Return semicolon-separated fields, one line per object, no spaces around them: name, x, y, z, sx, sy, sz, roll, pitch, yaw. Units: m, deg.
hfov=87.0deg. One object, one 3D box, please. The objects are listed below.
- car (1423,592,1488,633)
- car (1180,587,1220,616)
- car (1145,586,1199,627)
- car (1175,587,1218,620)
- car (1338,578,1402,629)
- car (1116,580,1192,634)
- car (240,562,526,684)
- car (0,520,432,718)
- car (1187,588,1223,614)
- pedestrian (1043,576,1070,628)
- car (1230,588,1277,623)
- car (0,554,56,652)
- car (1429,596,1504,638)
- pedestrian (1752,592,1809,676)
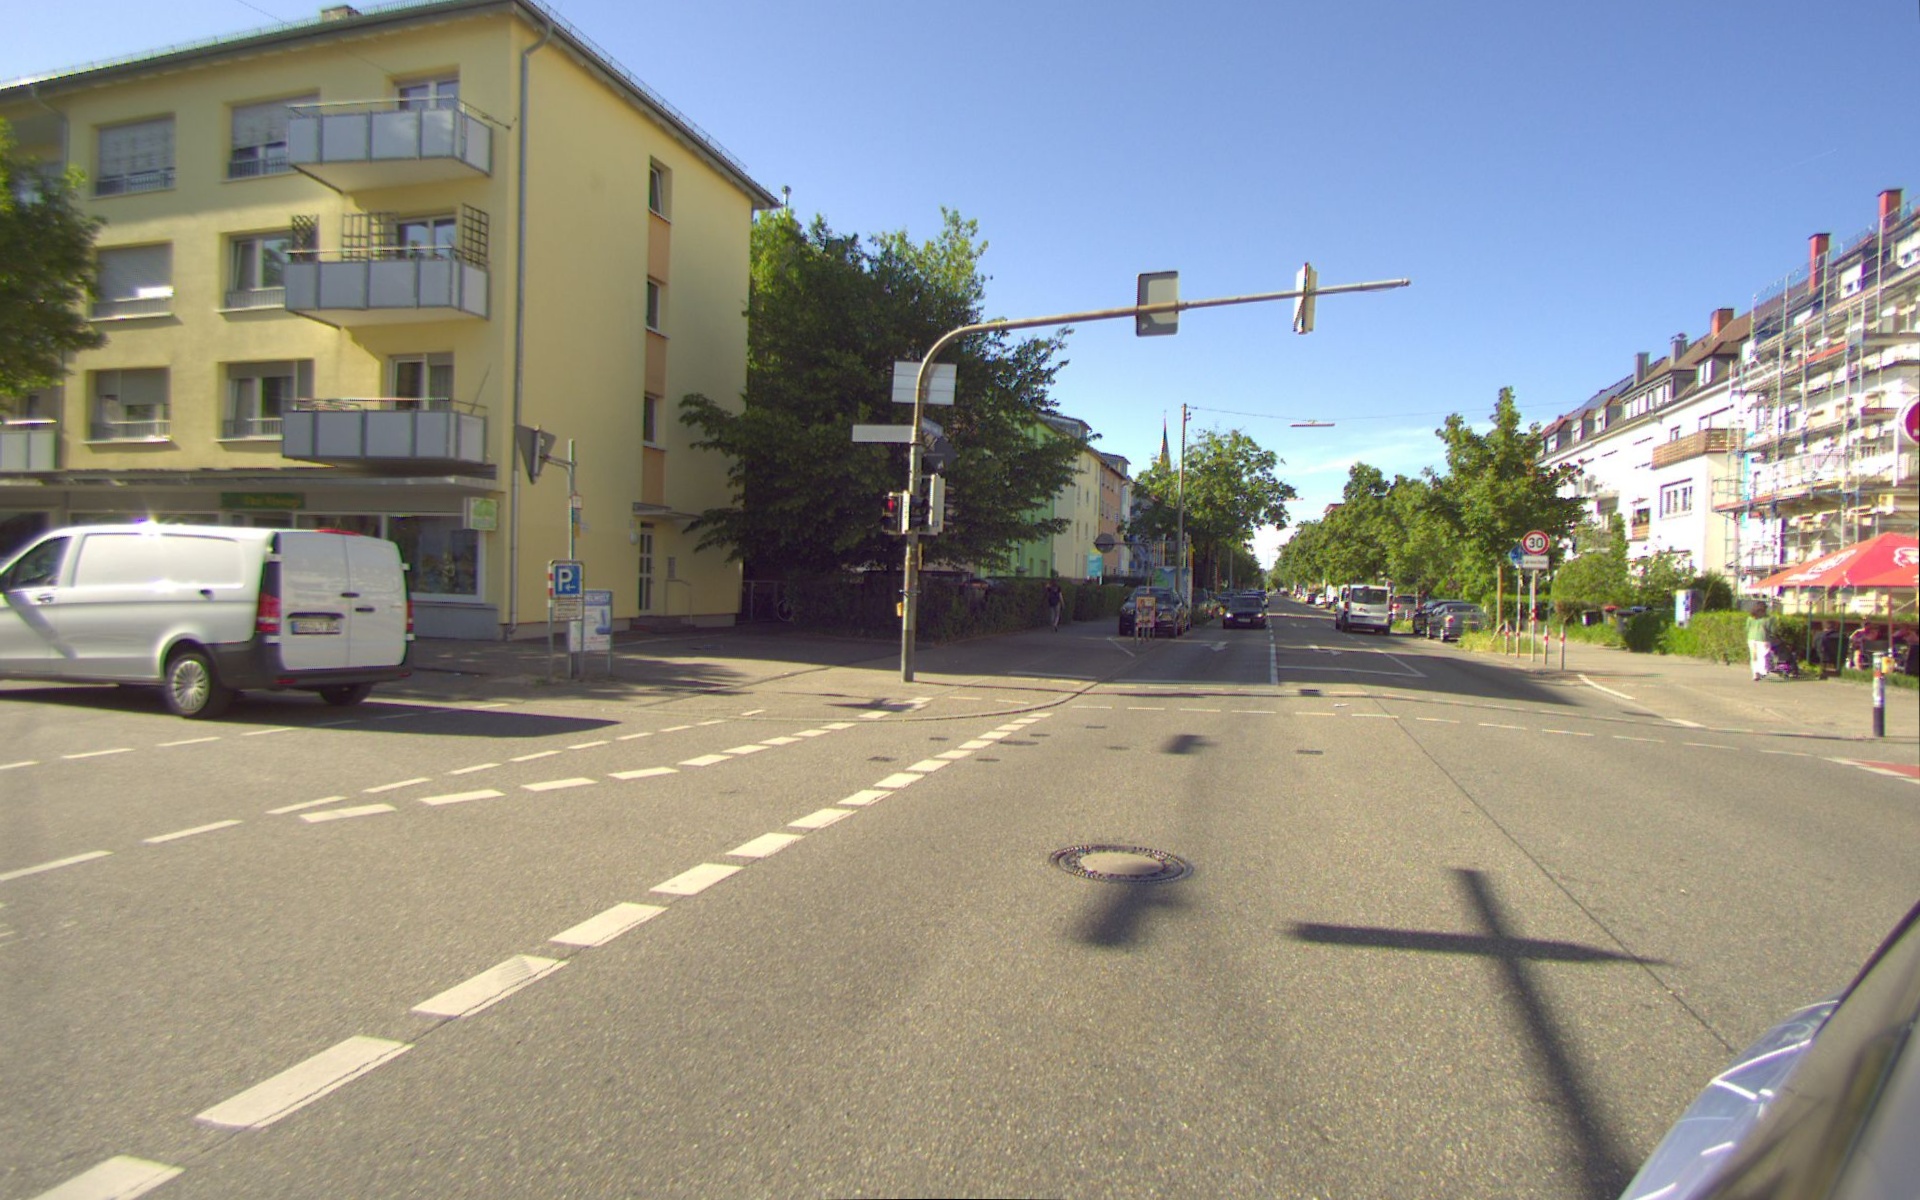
car;19.853;0.460;40.707;1.691;1.471;3.978;2;1;17
car;12.206;0.046;51.318;1.664;1.353;3.502;2;1;18
car;8.115;0.208;38.567;1.663;1.429;3.503;2;1;17
car;11.202;0.138;47.828;1.663;1.429;3.503;2;1;17
car;16.937;0.163;42.025;1.947;1.964;5.028;2;0;16
car;6.399;0.195;33.056;1.973;1.593;3.978;2;1;17
car;-8.244;0.267;14.517;3.434;1.502;1.708;2;1;18
car;-8.473;0.107;11.067;4.766;1.833;1.965;2;1;16
car;13.788;0.054;56.847;1.663;1.353;3.502;2;1;18
pedestrian;3.034;0.048;31.854;0.639;1.606;0.567;2;1;24
car;12.483;0.211;42.938;1.845;1.393;3.978;1;1;17
car;-16.403;-0.013;16.008;3.336;1.502;1.708;2;1;18
car;18.044;0.562;36.204;1.691;1.330;3.979;2;1;17
pedestrian;16.489;0.666;20.344;0.635;1.638;0.592;2;1;12
